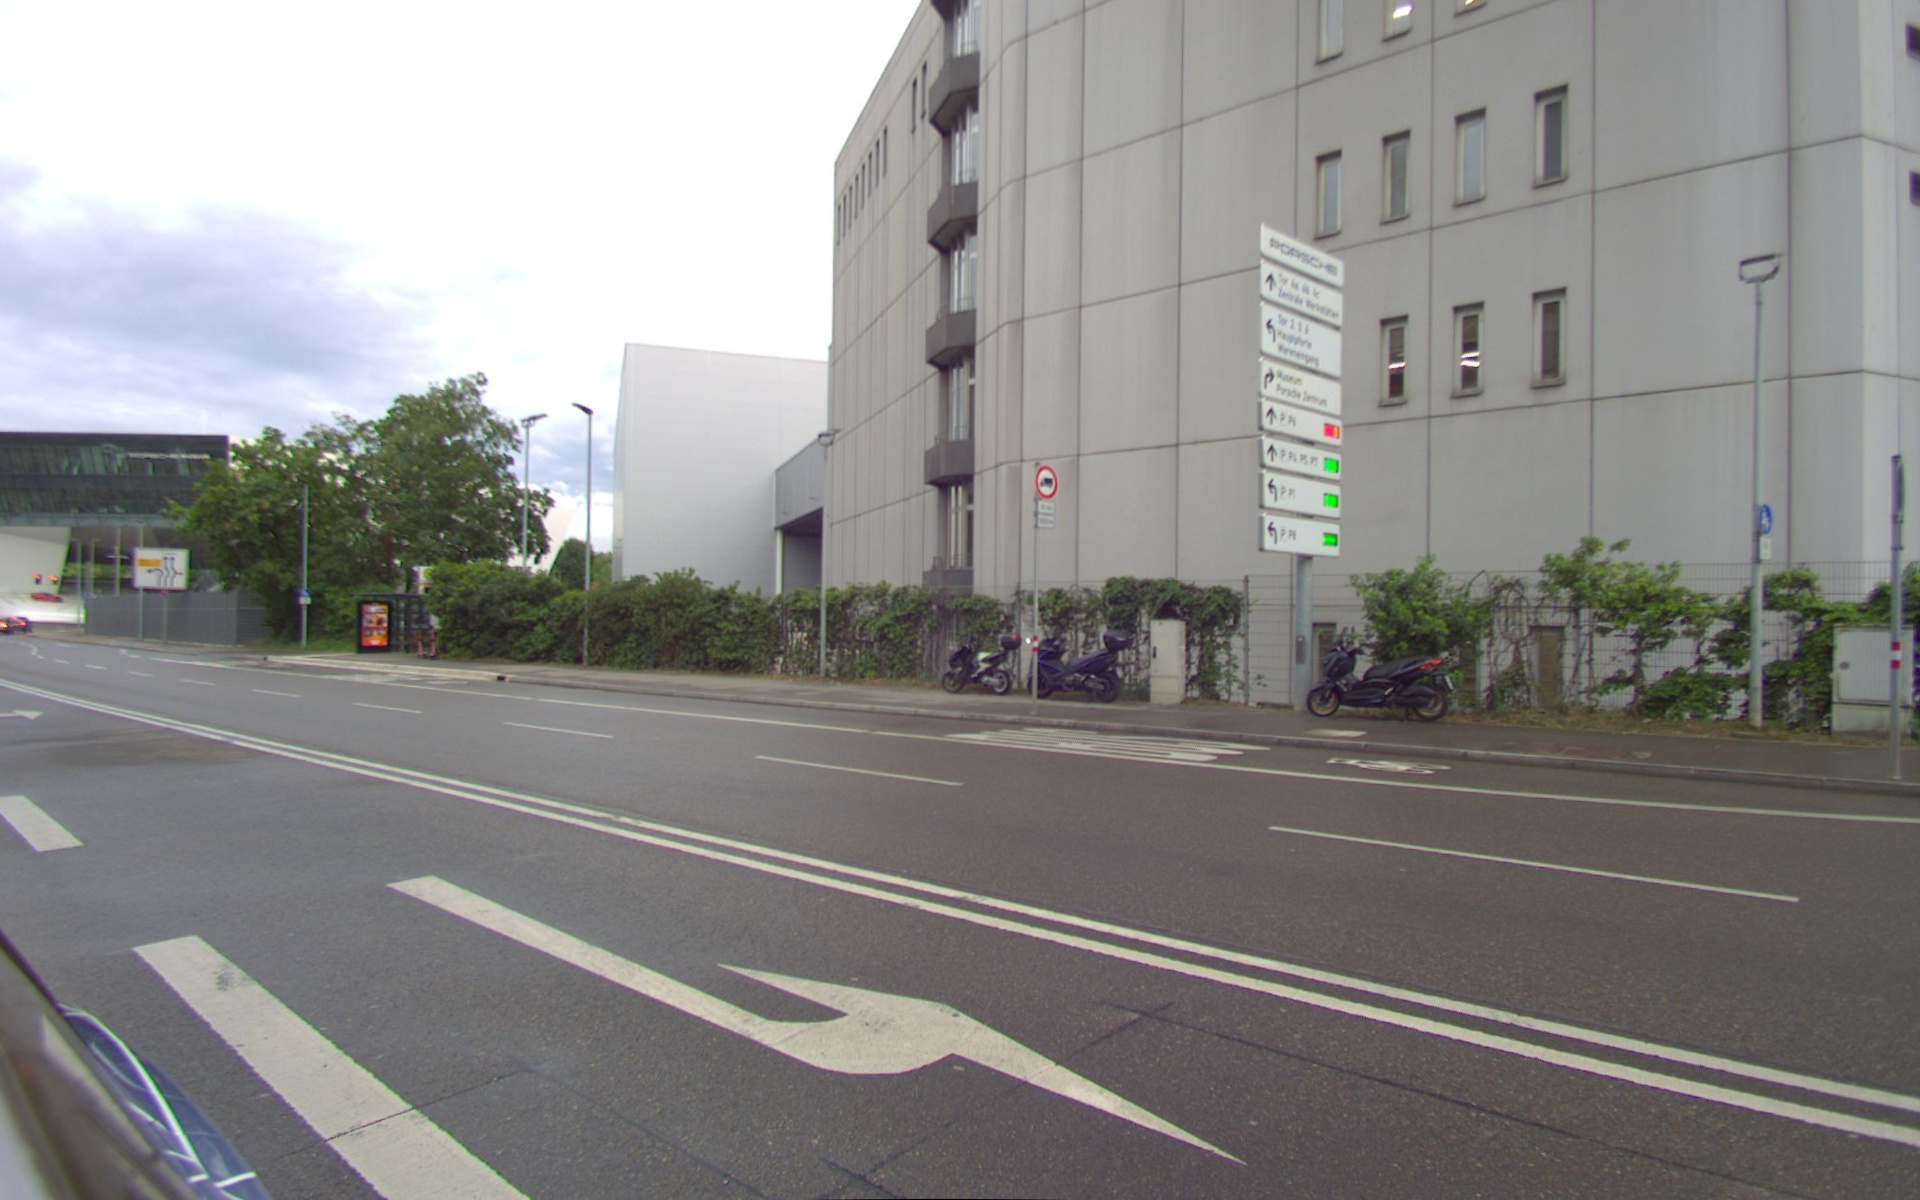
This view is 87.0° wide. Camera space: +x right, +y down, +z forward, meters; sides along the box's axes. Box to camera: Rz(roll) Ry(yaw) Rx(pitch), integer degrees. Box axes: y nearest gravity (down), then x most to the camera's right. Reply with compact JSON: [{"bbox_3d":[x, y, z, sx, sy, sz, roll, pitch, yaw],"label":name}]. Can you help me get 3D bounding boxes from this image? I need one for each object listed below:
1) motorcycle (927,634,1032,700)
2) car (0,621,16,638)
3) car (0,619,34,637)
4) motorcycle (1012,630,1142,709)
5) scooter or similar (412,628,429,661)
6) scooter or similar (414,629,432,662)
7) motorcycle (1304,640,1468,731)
[{"bbox_3d":[0.381,1.332,20.678,2.156,1.260,0.777,-1,-2,40],"label":"motorcycle"},{"bbox_3d":[-85.010,2.600,88.979,2.233,1.488,4.059,1,-1,-32],"label":"car"},{"bbox_3d":[-88.706,2.620,94.981,1.834,1.663,3.799,1,-2,-30],"label":"car"},{"bbox_3d":[2.143,1.245,18.754,2.368,1.358,0.776,-1,-2,40],"label":"motorcycle"},{"bbox_3d":[-20.252,1.667,37.979,0.383,1.189,1.253,1,-2,-36],"label":"scooter or similar"},{"bbox_3d":[-19.528,1.645,36.798,0.373,1.190,1.380,1,-2,-36],"label":"scooter or similar"},{"bbox_3d":[6.433,1.245,15.348,2.156,1.257,0.777,-1,-2,40],"label":"motorcycle"}]
